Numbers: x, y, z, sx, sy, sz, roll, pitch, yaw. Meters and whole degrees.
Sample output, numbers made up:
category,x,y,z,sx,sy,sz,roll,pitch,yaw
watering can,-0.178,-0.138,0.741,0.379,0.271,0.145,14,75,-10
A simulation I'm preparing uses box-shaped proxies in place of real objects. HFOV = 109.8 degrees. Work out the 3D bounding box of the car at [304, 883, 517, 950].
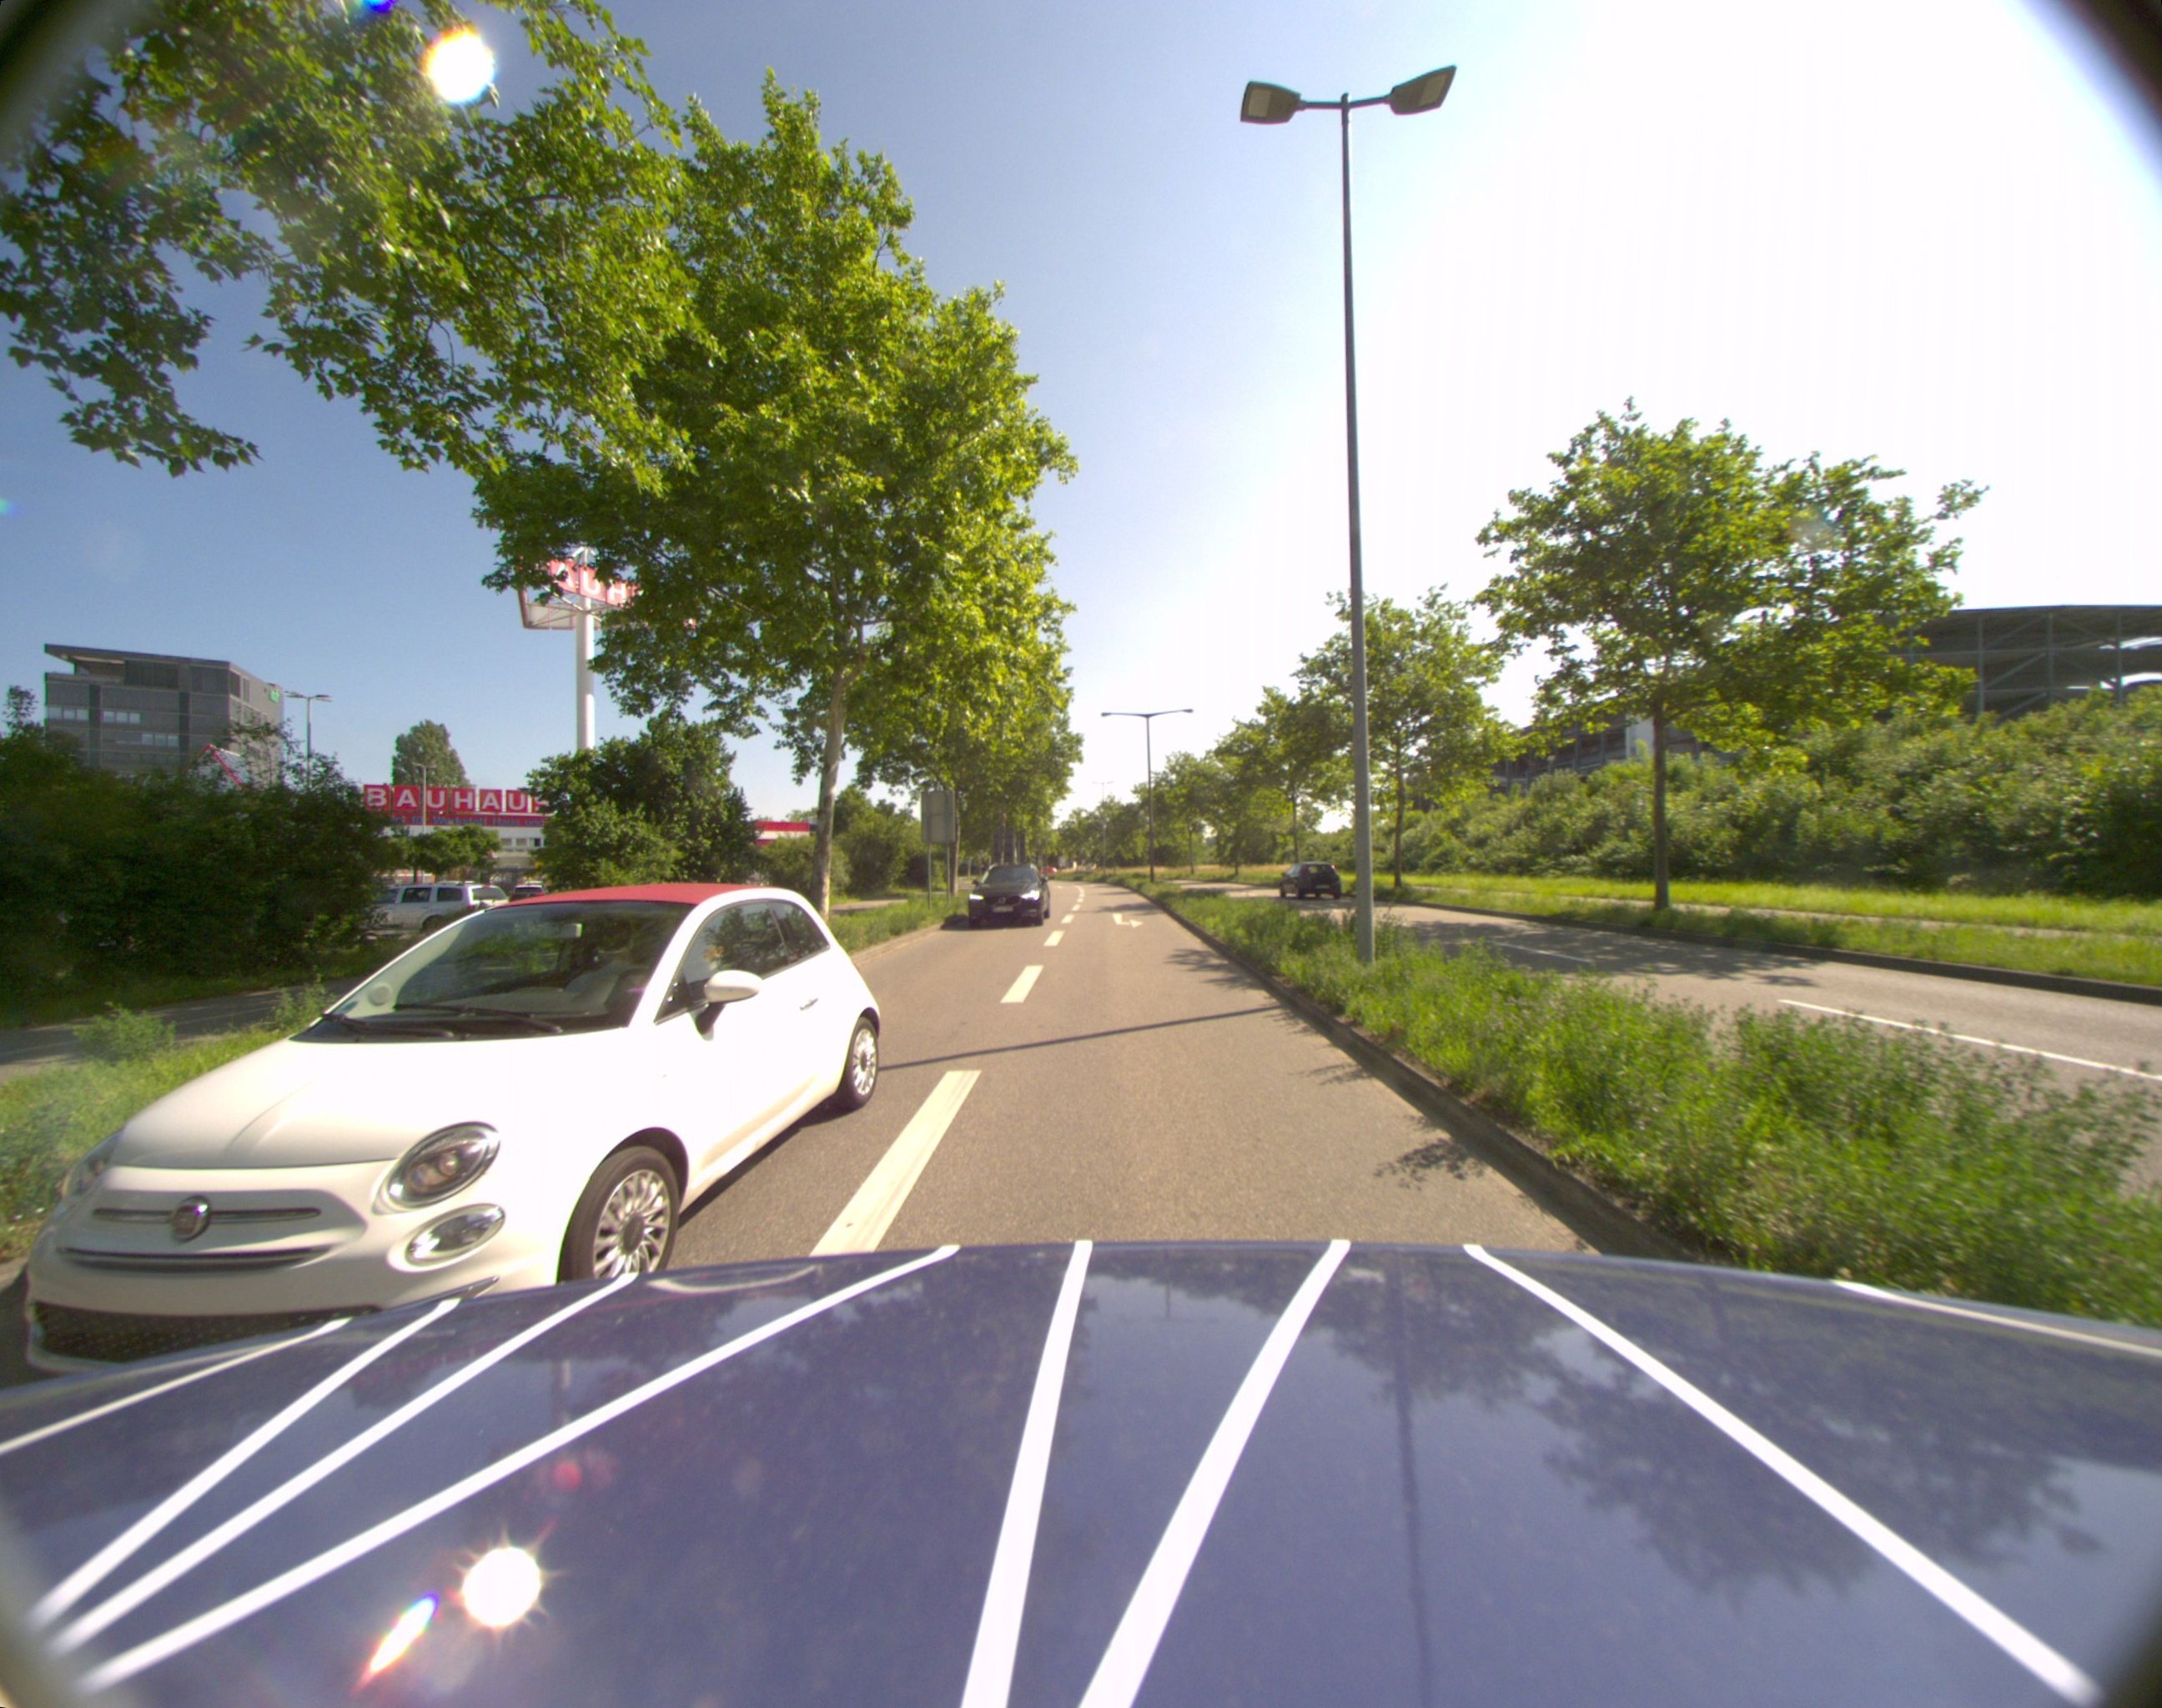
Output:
category,x,y,z,sx,sy,sz,roll,pitch,yaw
car,-21.299,1.943,24.296,4.981,1.805,1.807,-2,0,-3

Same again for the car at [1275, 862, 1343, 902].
category,x,y,z,sx,sy,sz,roll,pitch,yaw
car,9.179,1.081,30.860,1.574,1.461,3.927,-2,0,1

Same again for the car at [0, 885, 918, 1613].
category,x,y,z,sx,sy,sz,roll,pitch,yaw
car,-2.239,0.956,3.514,1.664,1.428,3.522,-2,0,10

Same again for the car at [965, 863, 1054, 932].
category,x,y,z,sx,sy,sz,roll,pitch,yaw
car,-1.861,1.111,21.075,1.924,1.613,4.565,-2,0,1

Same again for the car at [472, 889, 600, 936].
category,x,y,z,sx,sy,sz,roll,pitch,yaw
car,-22.749,2.419,31.810,3.998,1.662,1.697,-2,0,-3
